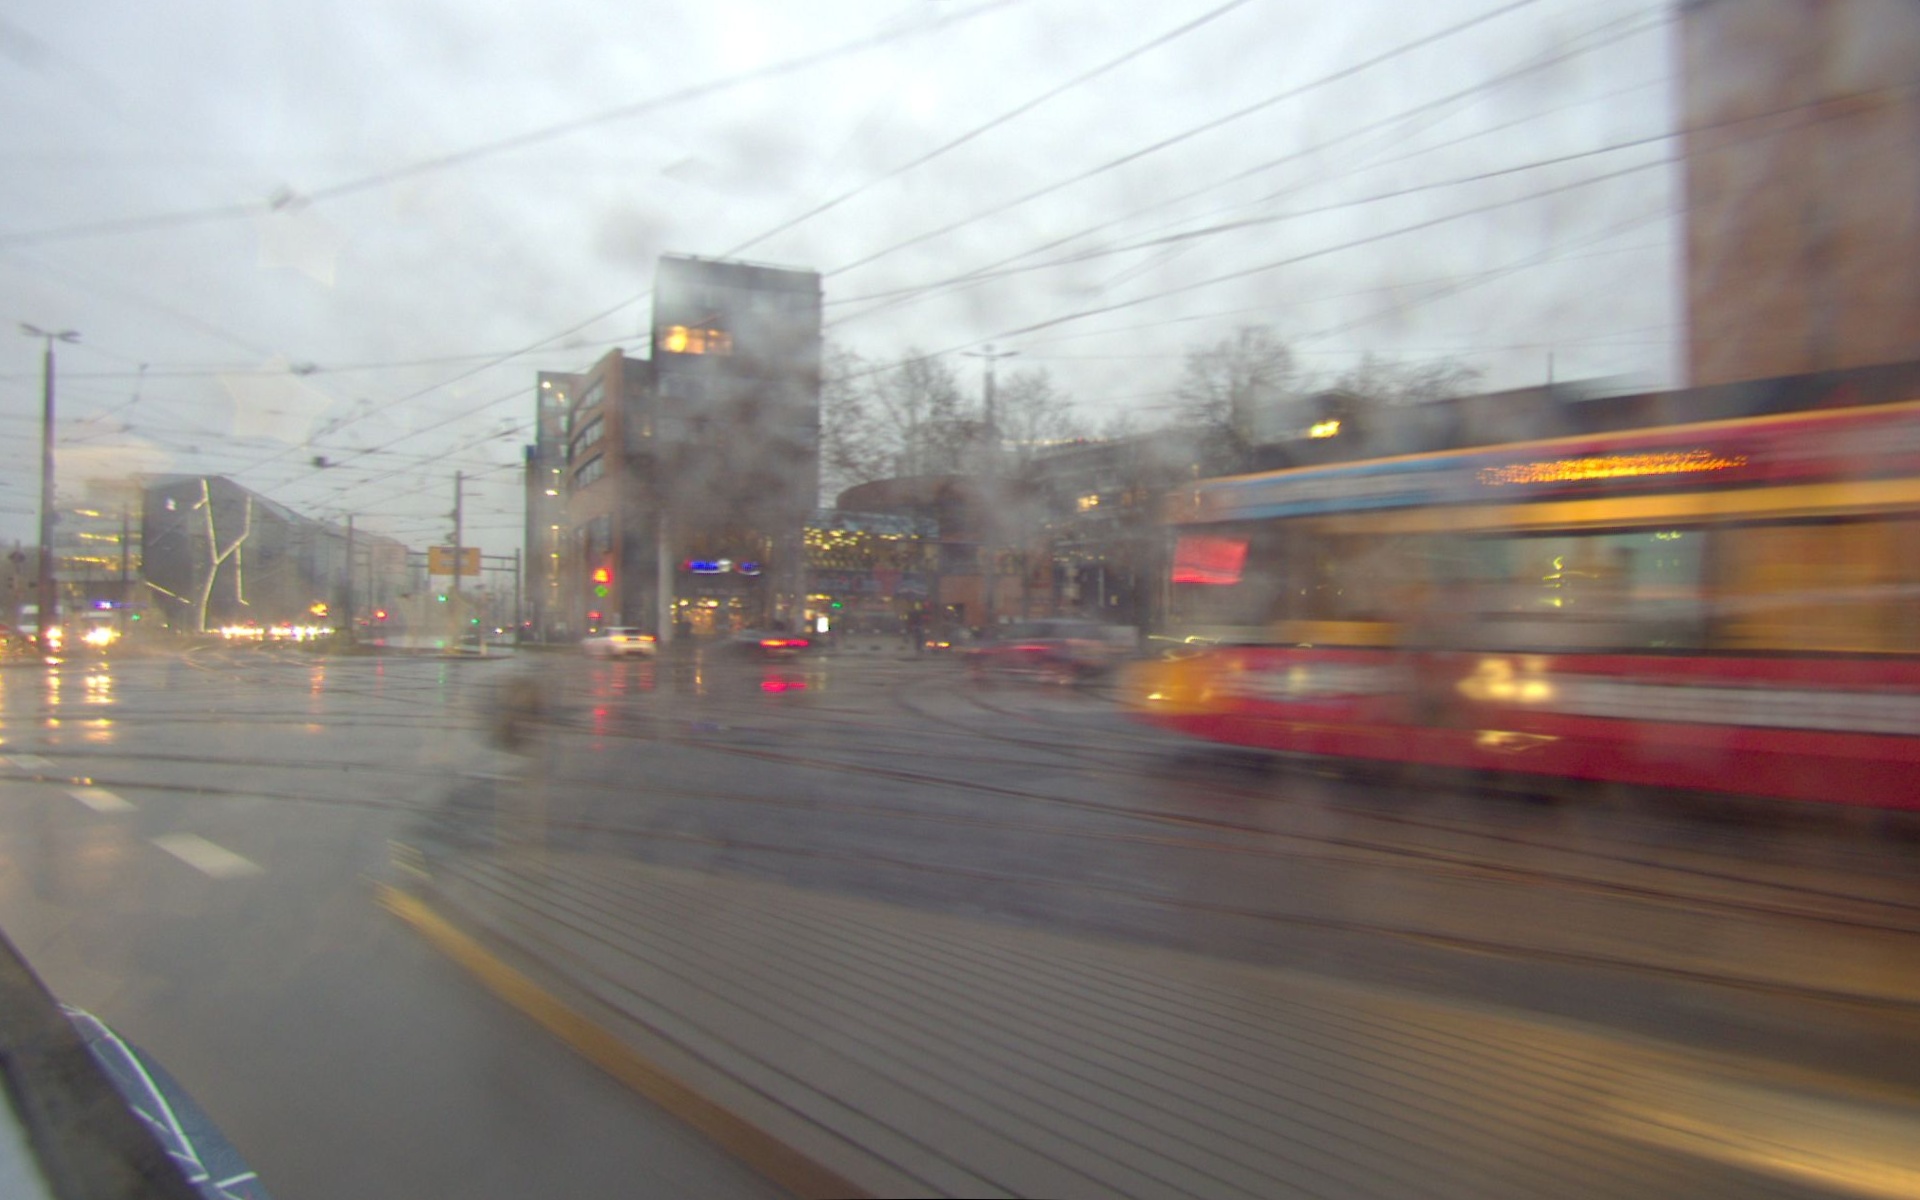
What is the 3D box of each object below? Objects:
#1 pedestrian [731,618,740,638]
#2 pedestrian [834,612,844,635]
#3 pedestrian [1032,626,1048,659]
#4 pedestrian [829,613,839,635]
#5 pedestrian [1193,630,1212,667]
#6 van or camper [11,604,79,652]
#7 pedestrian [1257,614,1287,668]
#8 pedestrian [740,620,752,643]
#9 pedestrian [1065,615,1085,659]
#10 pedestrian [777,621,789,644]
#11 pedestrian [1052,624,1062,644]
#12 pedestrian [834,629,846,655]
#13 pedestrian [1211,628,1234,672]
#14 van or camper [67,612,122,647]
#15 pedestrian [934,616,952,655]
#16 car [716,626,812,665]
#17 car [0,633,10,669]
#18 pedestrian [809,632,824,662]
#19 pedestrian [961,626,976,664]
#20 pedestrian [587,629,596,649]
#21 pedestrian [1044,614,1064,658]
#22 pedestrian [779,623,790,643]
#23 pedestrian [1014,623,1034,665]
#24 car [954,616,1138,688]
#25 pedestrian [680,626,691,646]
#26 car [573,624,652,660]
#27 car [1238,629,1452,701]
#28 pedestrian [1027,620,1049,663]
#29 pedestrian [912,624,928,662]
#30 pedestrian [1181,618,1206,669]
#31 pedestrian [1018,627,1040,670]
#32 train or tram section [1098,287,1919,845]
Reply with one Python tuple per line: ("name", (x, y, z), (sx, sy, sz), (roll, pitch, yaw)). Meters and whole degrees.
("pedestrian", (-19.071, 2.366, 85.900), (0.682, 1.721, 0.928), (1, -2, -8))
("pedestrian", (-9.499, 1.849, 79.723), (0.643, 1.764, 0.447), (1, -2, -36))
("pedestrian", (3.822, 2.011, 48.297), (0.511, 1.549, 0.577), (1, -2, -27))
("pedestrian", (-9.981, 1.911, 80.172), (0.643, 1.764, 0.447), (1, -2, -36))
("pedestrian", (10.247, 2.048, 42.804), (0.511, 1.549, 0.577), (1, -2, -27))
("van or camper", (-51.634, 1.554, 57.222), (2.028, 2.567, 5.900), (-1, -1, -34))
("pedestrian", (11.790, 1.537, 38.292), (0.786, 2.029, 0.761), (1, -2, -20))
("pedestrian", (-15.497, 2.277, 73.284), (0.729, 1.669, 0.696), (1, -2, -27))
("pedestrian", (5.401, 1.749, 47.600), (0.695, 2.029, 0.761), (1, -2, -20))
("pedestrian", (-13.432, 2.465, 76.671), (0.715, 1.721, 0.696), (1, -2, -27))
("pedestrian", (8.025, 2.792, 83.414), (0.588, 1.696, 0.562), (2, -3, -40))
("pedestrian", (-7.836, 2.734, 65.909), (0.593, 1.696, 0.558), (-1, -2, 21))
("pedestrian", (9.363, 1.764, 36.096), (0.511, 1.549, 0.577), (1, -2, -27))
("van or camper", (-62.536, 2.125, 73.200), (2.150, 2.370, 5.666), (-1, -1, -32))
("pedestrian", (-0.874, 1.868, 52.838), (0.695, 2.029, 0.761), (1, -2, -20))
("car", (-8.115, 1.848, 41.674), (4.234, 1.516, 1.733), (-1, -2, 43))
("car", (-43.170, 2.264, 44.374), (1.658, 1.585, 3.770), (1, -2, -35))
("pedestrian", (-9.999, 3.275, 70.475), (0.756, 2.029, 0.700), (-1, -2, 30))
("pedestrian", (0.444, 2.381, 53.333), (0.520, 1.973, 0.670), (1, -2, -23))
("pedestrian", (-24.224, 2.538, 66.501), (0.439, 1.274, 0.497), (0, -1, -40))
("pedestrian", (4.459, 1.702, 47.973), (0.695, 2.029, 0.761), (1, -2, -20))
("pedestrian", (-13.689, 2.557, 78.959), (0.641, 1.515, 0.696), (1, -2, -27))
("pedestrian", (3.148, 2.169, 49.995), (0.756, 2.029, 0.700), (-1, -2, 30))
("car", (2.165, 1.292, 26.430), (4.706, 1.722, 1.808), (-1, -2, 44))
("pedestrian", (-20.875, 2.744, 76.930), (0.641, 1.515, 0.696), (1, -2, -27))
("car", (-15.471, 1.848, 45.013), (1.649, 1.506, 4.203), (2, -2, -45))
("car", (9.139, 1.476, 24.268), (1.808, 1.568, 4.447), (1, -2, -45))
("pedestrian", (3.773, 2.009, 48.946), (0.747, 2.029, 0.708), (2, -2, -42))
("pedestrian", (-2.182, 2.350, 55.635), (0.700, 2.029, 0.775), (0, -2, 12))
("pedestrian", (9.314, 1.729, 40.391), (0.695, 2.029, 0.761), (1, -2, -20))
("pedestrian", (3.256, 2.292, 47.791), (0.695, 2.029, 0.761), (1, -2, -34))
("train or tram section", (6.931, -0.220, 7.903), (12.259, 3.616, 2.917), (-2, -1, 44))
